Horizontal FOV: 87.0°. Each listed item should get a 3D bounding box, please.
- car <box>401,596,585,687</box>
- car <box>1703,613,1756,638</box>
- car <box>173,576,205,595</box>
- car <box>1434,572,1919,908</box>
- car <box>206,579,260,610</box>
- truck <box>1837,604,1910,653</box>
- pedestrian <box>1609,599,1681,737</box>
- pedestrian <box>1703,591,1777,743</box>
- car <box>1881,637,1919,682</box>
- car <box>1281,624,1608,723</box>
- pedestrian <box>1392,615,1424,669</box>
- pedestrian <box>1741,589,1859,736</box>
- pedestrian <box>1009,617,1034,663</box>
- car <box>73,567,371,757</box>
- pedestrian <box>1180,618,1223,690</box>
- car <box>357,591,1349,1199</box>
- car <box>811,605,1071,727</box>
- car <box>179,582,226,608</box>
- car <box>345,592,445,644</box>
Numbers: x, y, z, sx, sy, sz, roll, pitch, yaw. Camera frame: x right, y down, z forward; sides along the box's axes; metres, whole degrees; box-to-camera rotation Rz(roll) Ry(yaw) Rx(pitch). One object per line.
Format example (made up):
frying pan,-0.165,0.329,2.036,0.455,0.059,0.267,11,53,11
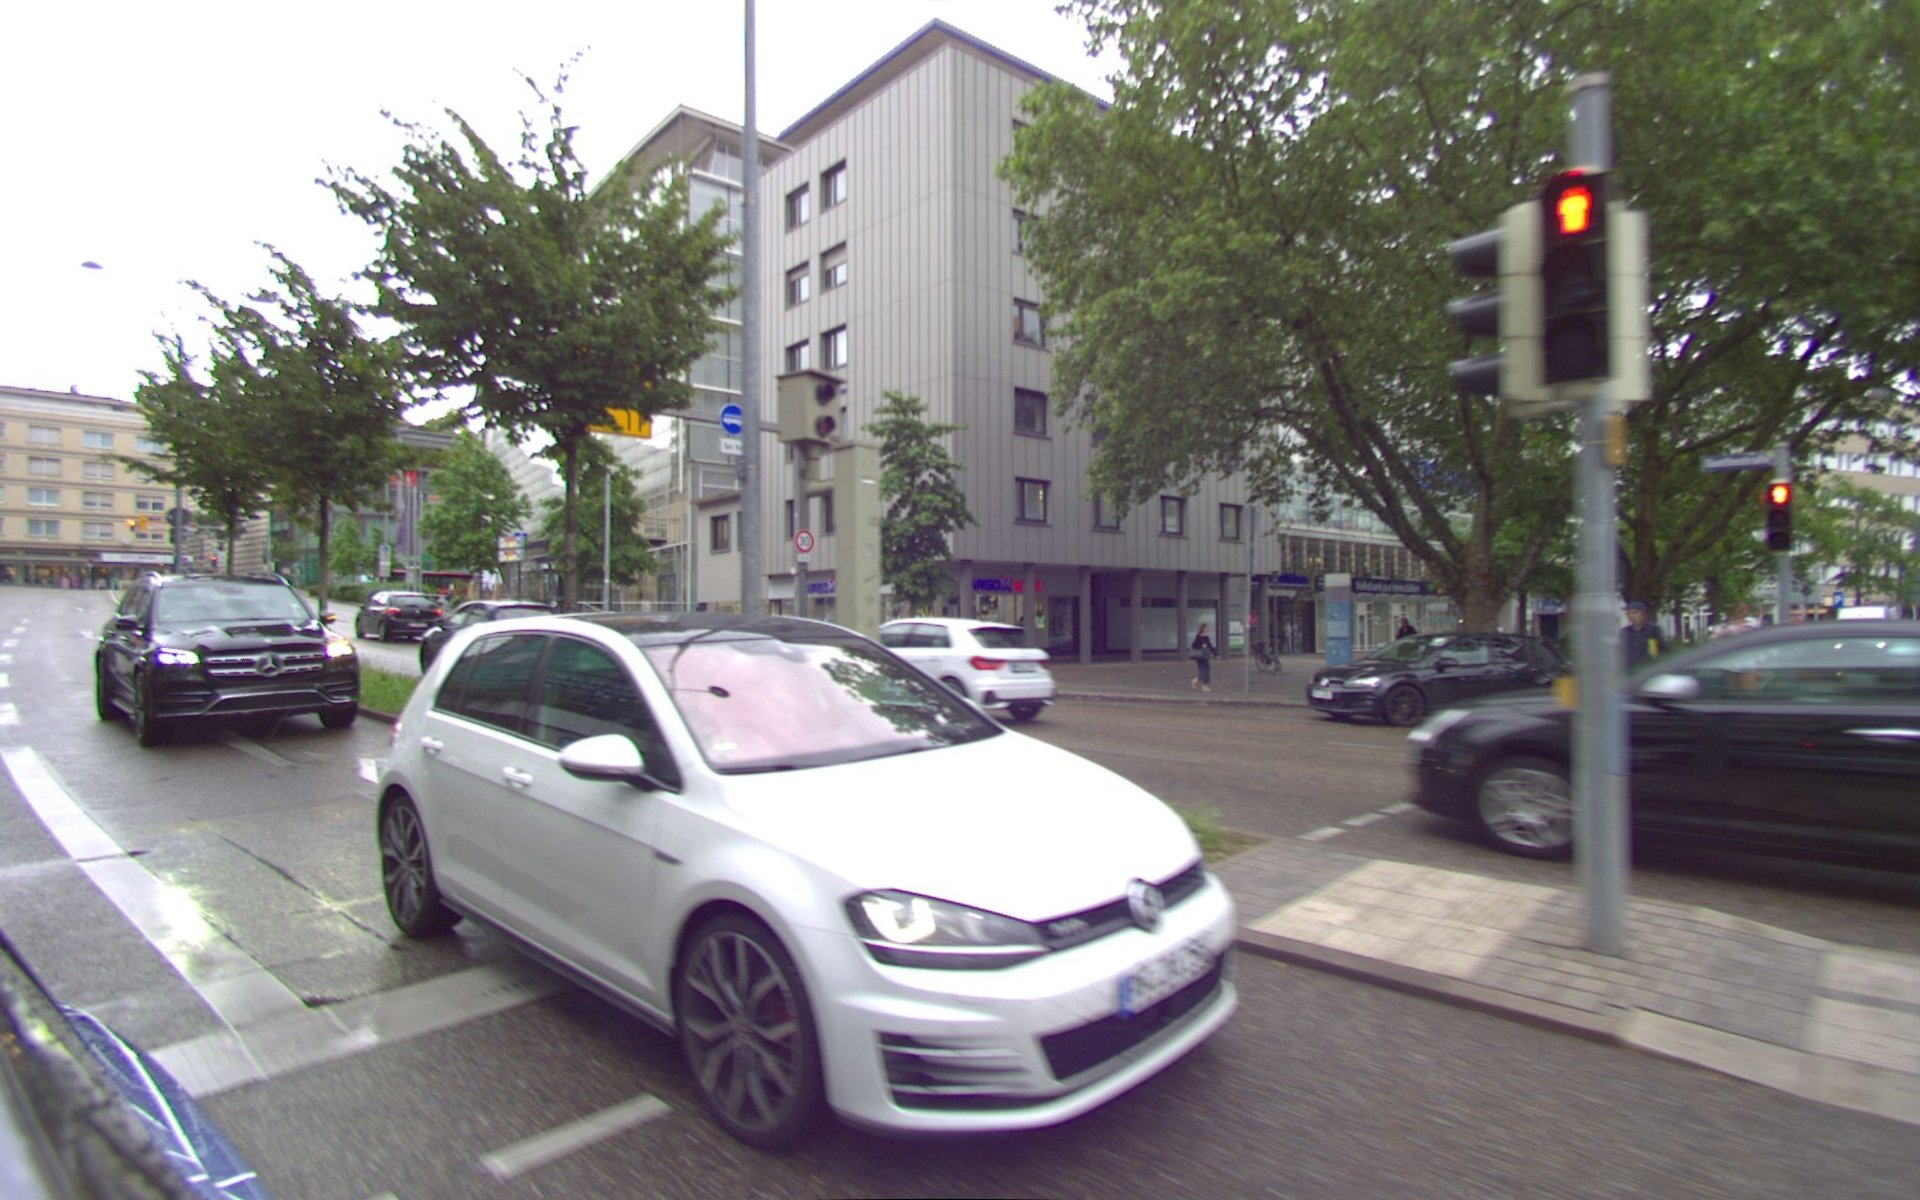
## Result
car,-8.643,0.720,18.589,3.958,1.490,1.694,0,-3,44
car,59.653,1.971,78.433,3.745,1.763,1.923,-1,2,-30
car,-89.081,-1.697,116.966,3.995,2.028,1.975,2,3,38
car,4.794,0.674,5.551,3.659,1.567,1.605,-2,-2,43
car,-37.231,-0.288,51.796,3.649,1.448,1.607,2,0,44
truck,43.626,1.334,48.256,6.604,2.171,2.002,1,-2,-43
pedestrian,9.071,0.887,13.408,0.676,1.777,0.406,-3,-3,42
pedestrian,9.837,0.818,12.767,0.676,1.851,0.442,2,0,40
car,34.270,2.068,35.815,3.936,1.475,1.867,1,-2,-39
car,7.550,1.135,15.913,4.353,1.407,1.938,2,-2,-13
pedestrian,11.870,1.111,26.814,0.540,1.417,0.527,1,-3,-21
pedestrian,11.421,0.826,13.787,0.814,1.921,0.862,2,0,-6
pedestrian,2.261,1.460,37.344,0.613,1.669,0.633,1,0,-40
car,-8.921,0.516,12.055,4.886,1.791,1.972,2,3,43
pedestrian,5.564,1.239,23.356,0.670,1.619,0.701,3,-4,-44
car,-0.778,0.685,4.024,4.000,1.420,1.746,0,1,43
car,-0.362,0.879,14.568,3.644,1.527,1.653,-1,-3,44
car,-47.988,-0.324,64.072,1.969,1.520,4.190,1,1,-42
car,-17.625,0.555,31.502,3.880,1.503,1.600,0,-3,44
